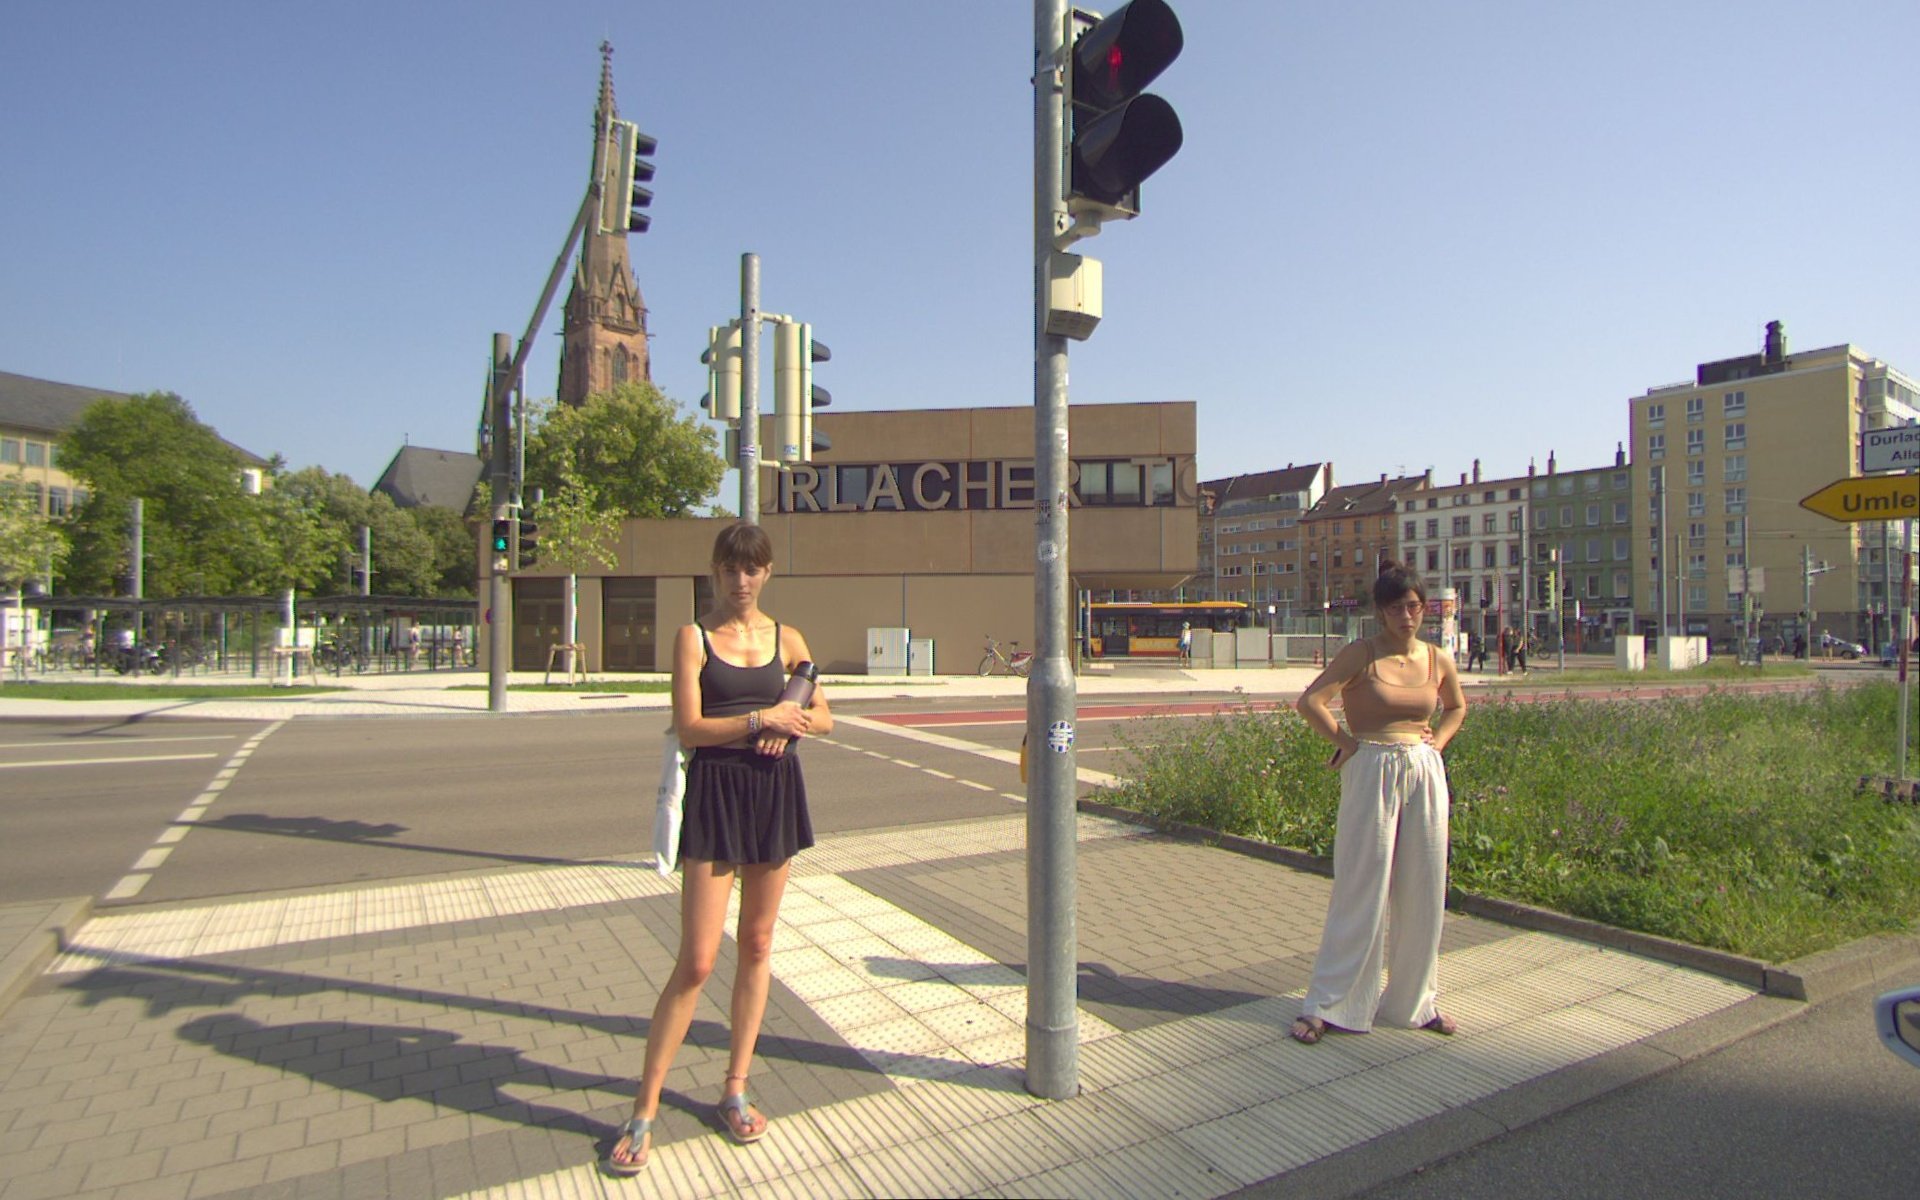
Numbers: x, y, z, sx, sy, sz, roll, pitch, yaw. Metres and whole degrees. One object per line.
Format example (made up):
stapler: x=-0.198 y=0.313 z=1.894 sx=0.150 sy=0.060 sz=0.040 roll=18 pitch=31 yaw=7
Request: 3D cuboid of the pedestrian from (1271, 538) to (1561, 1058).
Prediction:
pedestrian: x=1.588 y=0.648 z=3.624 sx=0.763 sy=1.676 sz=0.669 roll=0 pitch=-2 yaw=6

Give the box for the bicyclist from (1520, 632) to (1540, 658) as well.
bicyclist: x=34.968 y=2.744 z=61.635 sx=0.718 sy=1.547 sz=0.790 roll=1 pitch=-2 yaw=-30

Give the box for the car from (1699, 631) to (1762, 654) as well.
car: x=60.106 y=3.306 z=78.469 sx=1.959 sy=1.701 sz=4.553 roll=0 pitch=-1 yaw=10

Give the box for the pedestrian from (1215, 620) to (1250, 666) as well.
pedestrian: x=10.417 y=1.631 z=38.435 sx=0.856 sy=1.727 sz=0.981 roll=1 pitch=-2 yaw=-32

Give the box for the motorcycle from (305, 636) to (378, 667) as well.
motorcycle: x=-24.162 y=2.008 z=39.262 sx=2.328 sy=1.221 sz=0.760 roll=0 pitch=-2 yaw=-1

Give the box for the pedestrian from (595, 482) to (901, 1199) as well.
pedestrian: x=-0.621 y=0.590 z=2.883 sx=0.684 sy=1.721 sz=0.663 roll=1 pitch=-2 yaw=-31

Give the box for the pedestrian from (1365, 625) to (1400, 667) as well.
pedestrian: x=16.080 y=1.757 z=38.238 sx=0.849 sy=1.583 sz=0.989 roll=0 pitch=-2 yaw=-6

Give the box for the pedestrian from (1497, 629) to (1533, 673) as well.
pedestrian: x=20.312 y=1.869 z=36.782 sx=0.970 sy=1.579 sz=0.866 roll=0 pitch=-2 yaw=15

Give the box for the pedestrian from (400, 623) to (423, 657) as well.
pedestrian: x=-23.514 y=1.700 z=43.062 sx=0.576 sy=1.427 sz=0.692 roll=0 pitch=-2 yaw=4

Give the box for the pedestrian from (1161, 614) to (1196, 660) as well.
pedestrian: x=8.226 y=1.399 z=37.883 sx=0.856 sy=1.694 sz=0.981 roll=1 pitch=-2 yaw=-32

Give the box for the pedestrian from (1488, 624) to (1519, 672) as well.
pedestrian: x=20.765 y=1.817 z=38.356 sx=0.692 sy=1.824 sz=0.775 roll=1 pitch=-2 yaw=-27

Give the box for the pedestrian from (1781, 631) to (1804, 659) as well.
pedestrian: x=51.936 y=2.804 z=62.667 sx=0.914 sy=1.712 sz=0.915 roll=1 pitch=-1 yaw=-36

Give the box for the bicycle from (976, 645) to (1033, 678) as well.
bicycle: x=1.233 y=1.699 z=27.700 sx=1.516 sy=0.849 sz=0.593 roll=0 pitch=1 yaw=10

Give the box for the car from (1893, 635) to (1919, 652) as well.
car: x=76.092 y=3.420 z=78.773 sx=1.468 sy=1.372 sz=4.126 roll=1 pitch=-2 yaw=-37

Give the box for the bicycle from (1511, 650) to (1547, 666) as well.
bicycle: x=34.935 y=3.540 z=61.663 sx=0.717 sy=0.944 sz=1.804 roll=1 pitch=-2 yaw=-30

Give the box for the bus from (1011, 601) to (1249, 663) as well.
bus: x=8.794 y=1.659 z=52.682 sx=11.966 sy=3.149 sz=2.719 roll=0 pitch=-2 yaw=9

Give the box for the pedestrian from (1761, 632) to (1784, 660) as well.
pedestrian: x=51.550 y=2.904 z=63.707 sx=0.914 sy=1.712 sz=0.915 roll=1 pitch=-1 yaw=-36

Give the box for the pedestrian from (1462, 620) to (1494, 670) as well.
pedestrian: x=19.307 y=1.662 z=37.421 sx=0.764 sy=1.824 sz=0.799 roll=0 pitch=-2 yaw=0

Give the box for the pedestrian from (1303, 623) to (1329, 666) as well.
pedestrian: x=14.978 y=1.870 z=42.283 sx=0.692 sy=1.824 sz=0.775 roll=1 pitch=-2 yaw=-27

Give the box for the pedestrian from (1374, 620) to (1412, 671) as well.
pedestrian: x=15.688 y=1.648 z=36.436 sx=0.850 sy=1.793 sz=0.988 roll=1 pitch=-2 yaw=-10

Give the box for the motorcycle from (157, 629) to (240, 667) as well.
motorcycle: x=-30.292 y=1.901 z=39.979 sx=2.715 sy=1.468 sz=0.790 roll=0 pitch=-2 yaw=0

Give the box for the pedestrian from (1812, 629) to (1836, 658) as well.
pedestrian: x=52.793 y=2.639 z=61.375 sx=0.914 sy=1.712 sz=0.915 roll=1 pitch=-1 yaw=-36

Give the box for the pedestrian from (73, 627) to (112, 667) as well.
pedestrian: x=-38.690 y=2.101 z=44.803 sx=0.988 sy=1.784 sz=0.862 roll=0 pitch=-2 yaw=-6

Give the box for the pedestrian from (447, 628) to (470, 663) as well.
pedestrian: x=-20.719 y=1.865 z=41.496 sx=0.576 sy=1.427 sz=0.692 roll=0 pitch=-2 yaw=4

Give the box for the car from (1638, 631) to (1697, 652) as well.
car: x=57.918 y=3.381 z=82.281 sx=1.959 sy=1.701 sz=4.553 roll=0 pitch=-1 yaw=6
